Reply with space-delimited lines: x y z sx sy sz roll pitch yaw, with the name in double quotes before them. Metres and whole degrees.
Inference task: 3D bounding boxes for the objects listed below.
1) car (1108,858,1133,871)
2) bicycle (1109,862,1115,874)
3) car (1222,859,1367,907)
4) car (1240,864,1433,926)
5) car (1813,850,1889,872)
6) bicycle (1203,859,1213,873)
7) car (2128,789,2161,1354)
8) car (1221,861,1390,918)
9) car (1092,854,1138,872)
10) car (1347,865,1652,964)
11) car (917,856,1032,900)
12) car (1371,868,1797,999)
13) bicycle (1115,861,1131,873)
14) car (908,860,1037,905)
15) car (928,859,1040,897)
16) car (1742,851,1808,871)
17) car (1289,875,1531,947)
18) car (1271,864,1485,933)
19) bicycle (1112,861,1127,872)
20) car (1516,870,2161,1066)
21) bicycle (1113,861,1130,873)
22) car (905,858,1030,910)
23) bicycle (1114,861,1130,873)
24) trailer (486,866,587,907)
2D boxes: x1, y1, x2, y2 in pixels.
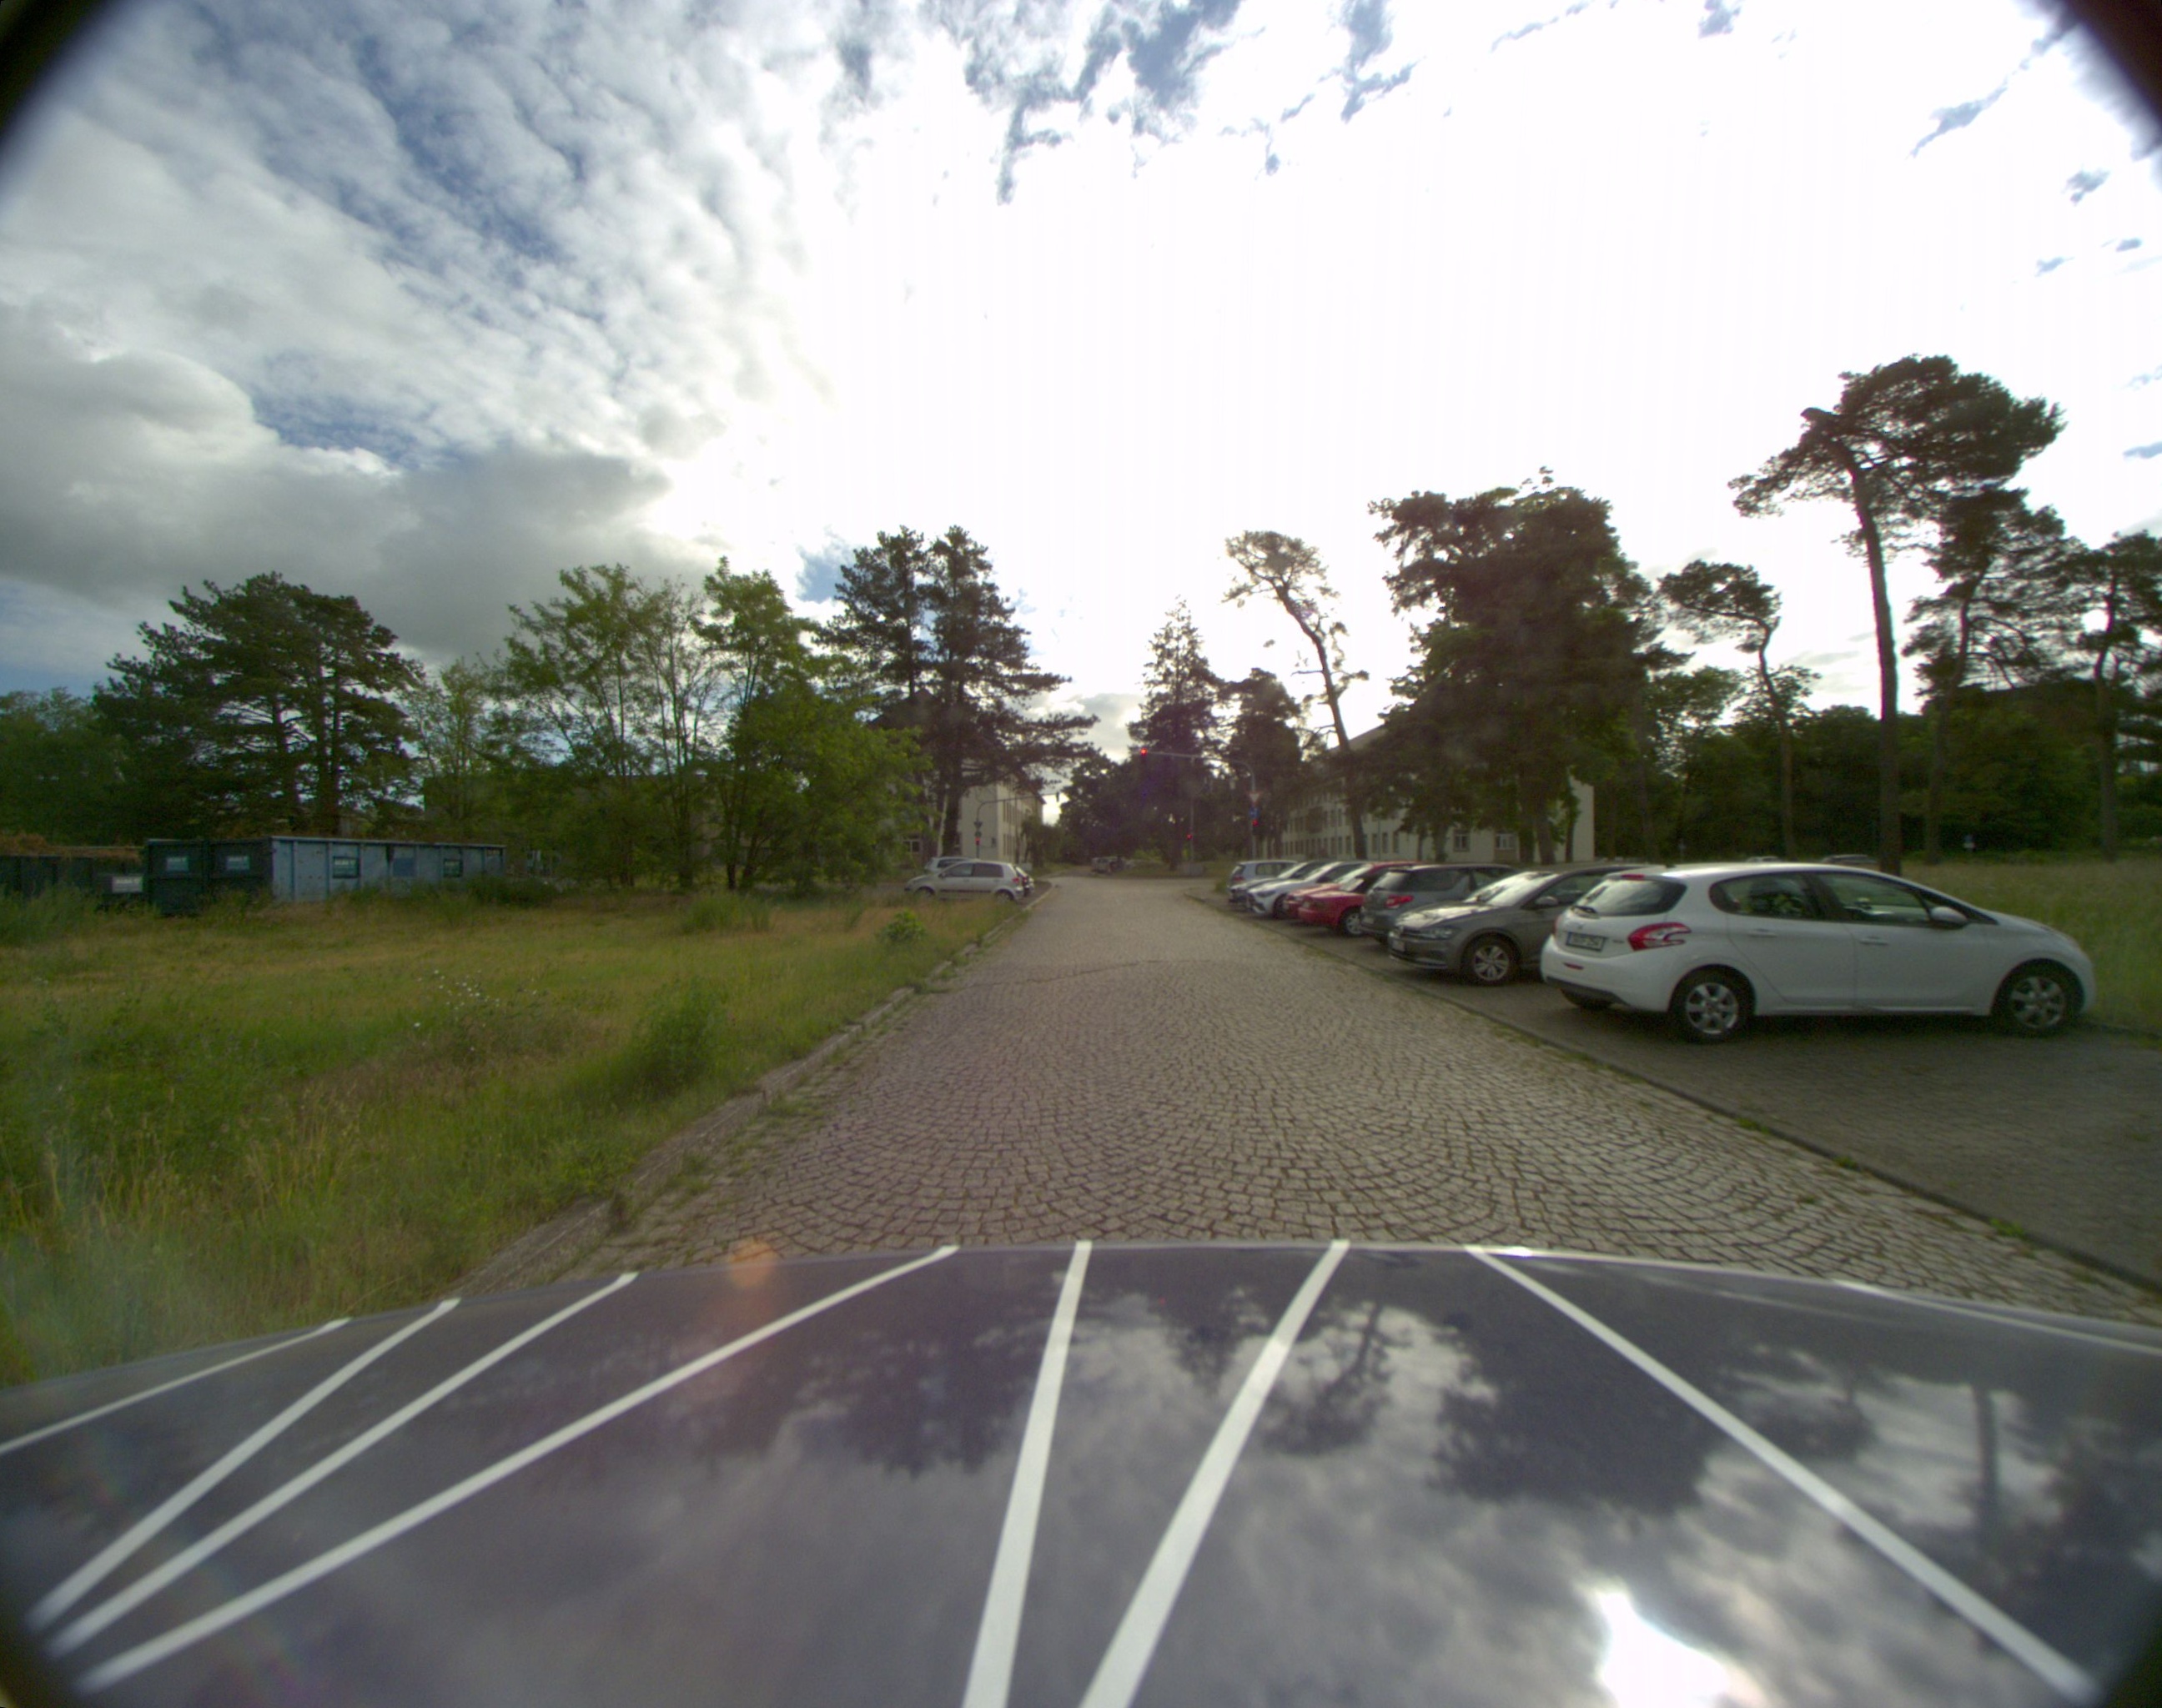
"car" 4.646 1.263 89.008 2.771 1.407 1.592 -3 0 0
"bicycle" 2.904 1.317 71.264 0.497 1.068 1.416 -3 0 0
"car" 7.037 0.950 25.403 4.339 1.462 1.827 -1 1 2
"car" 6.626 1.044 20.098 4.447 1.447 1.949 -1 1 2
"car" 59.933 0.544 59.200 4.054 1.601 1.717 -1 2 3
"bicycle" 10.323 0.994 61.825 0.497 1.068 1.416 -3 0 -2
"car" 6.102 0.714 1.679 4.721 1.969 2.038 -1 0 0
"car" 6.641 1.025 22.784 4.513 1.528 1.870 -1 1 -2
"car" 4.128 1.055 92.355 5.172 1.905 2.034 -2 0 -12
"car" 6.816 0.963 12.718 4.097 1.472 1.755 -1 0 2
"car" -4.162 0.931 30.141 4.342 1.565 1.826 2 0 -4
"car" 6.249 0.969 9.845 4.314 1.472 1.731 -1 0 3
"bicycle" 4.176 1.298 76.072 1.456 1.032 0.497 -3 1 -4
"car" -3.845 1.018 27.447 4.377 1.397 1.797 2 -1 0
"car" -4.102 1.013 32.718 4.562 1.417 1.826 2 0 -2
"car" 60.772 0.582 66.593 4.053 1.601 1.717 -1 2 5
"car" 6.519 1.124 15.407 4.141 1.275 1.764 -1 0 1
"car" 6.819 0.994 17.784 4.264 1.446 1.855 -1 0 1
"bicycle" 4.103 1.313 80.956 1.456 1.032 0.497 -3 1 -4
"car" 6.539 0.943 6.973 4.014 1.493 1.843 -1 0 3
"bicycle" 3.955 1.277 74.245 1.457 1.032 0.497 -3 1 -7
"car" -3.625 0.960 24.741 3.782 1.471 1.743 2 -1 -2
"bicycle" 4.030 1.292 75.039 1.456 1.032 0.497 -3 1 -4
"trailer" -17.019 0.994 23.802 2.318 1.163 1.143 -2 1 0
